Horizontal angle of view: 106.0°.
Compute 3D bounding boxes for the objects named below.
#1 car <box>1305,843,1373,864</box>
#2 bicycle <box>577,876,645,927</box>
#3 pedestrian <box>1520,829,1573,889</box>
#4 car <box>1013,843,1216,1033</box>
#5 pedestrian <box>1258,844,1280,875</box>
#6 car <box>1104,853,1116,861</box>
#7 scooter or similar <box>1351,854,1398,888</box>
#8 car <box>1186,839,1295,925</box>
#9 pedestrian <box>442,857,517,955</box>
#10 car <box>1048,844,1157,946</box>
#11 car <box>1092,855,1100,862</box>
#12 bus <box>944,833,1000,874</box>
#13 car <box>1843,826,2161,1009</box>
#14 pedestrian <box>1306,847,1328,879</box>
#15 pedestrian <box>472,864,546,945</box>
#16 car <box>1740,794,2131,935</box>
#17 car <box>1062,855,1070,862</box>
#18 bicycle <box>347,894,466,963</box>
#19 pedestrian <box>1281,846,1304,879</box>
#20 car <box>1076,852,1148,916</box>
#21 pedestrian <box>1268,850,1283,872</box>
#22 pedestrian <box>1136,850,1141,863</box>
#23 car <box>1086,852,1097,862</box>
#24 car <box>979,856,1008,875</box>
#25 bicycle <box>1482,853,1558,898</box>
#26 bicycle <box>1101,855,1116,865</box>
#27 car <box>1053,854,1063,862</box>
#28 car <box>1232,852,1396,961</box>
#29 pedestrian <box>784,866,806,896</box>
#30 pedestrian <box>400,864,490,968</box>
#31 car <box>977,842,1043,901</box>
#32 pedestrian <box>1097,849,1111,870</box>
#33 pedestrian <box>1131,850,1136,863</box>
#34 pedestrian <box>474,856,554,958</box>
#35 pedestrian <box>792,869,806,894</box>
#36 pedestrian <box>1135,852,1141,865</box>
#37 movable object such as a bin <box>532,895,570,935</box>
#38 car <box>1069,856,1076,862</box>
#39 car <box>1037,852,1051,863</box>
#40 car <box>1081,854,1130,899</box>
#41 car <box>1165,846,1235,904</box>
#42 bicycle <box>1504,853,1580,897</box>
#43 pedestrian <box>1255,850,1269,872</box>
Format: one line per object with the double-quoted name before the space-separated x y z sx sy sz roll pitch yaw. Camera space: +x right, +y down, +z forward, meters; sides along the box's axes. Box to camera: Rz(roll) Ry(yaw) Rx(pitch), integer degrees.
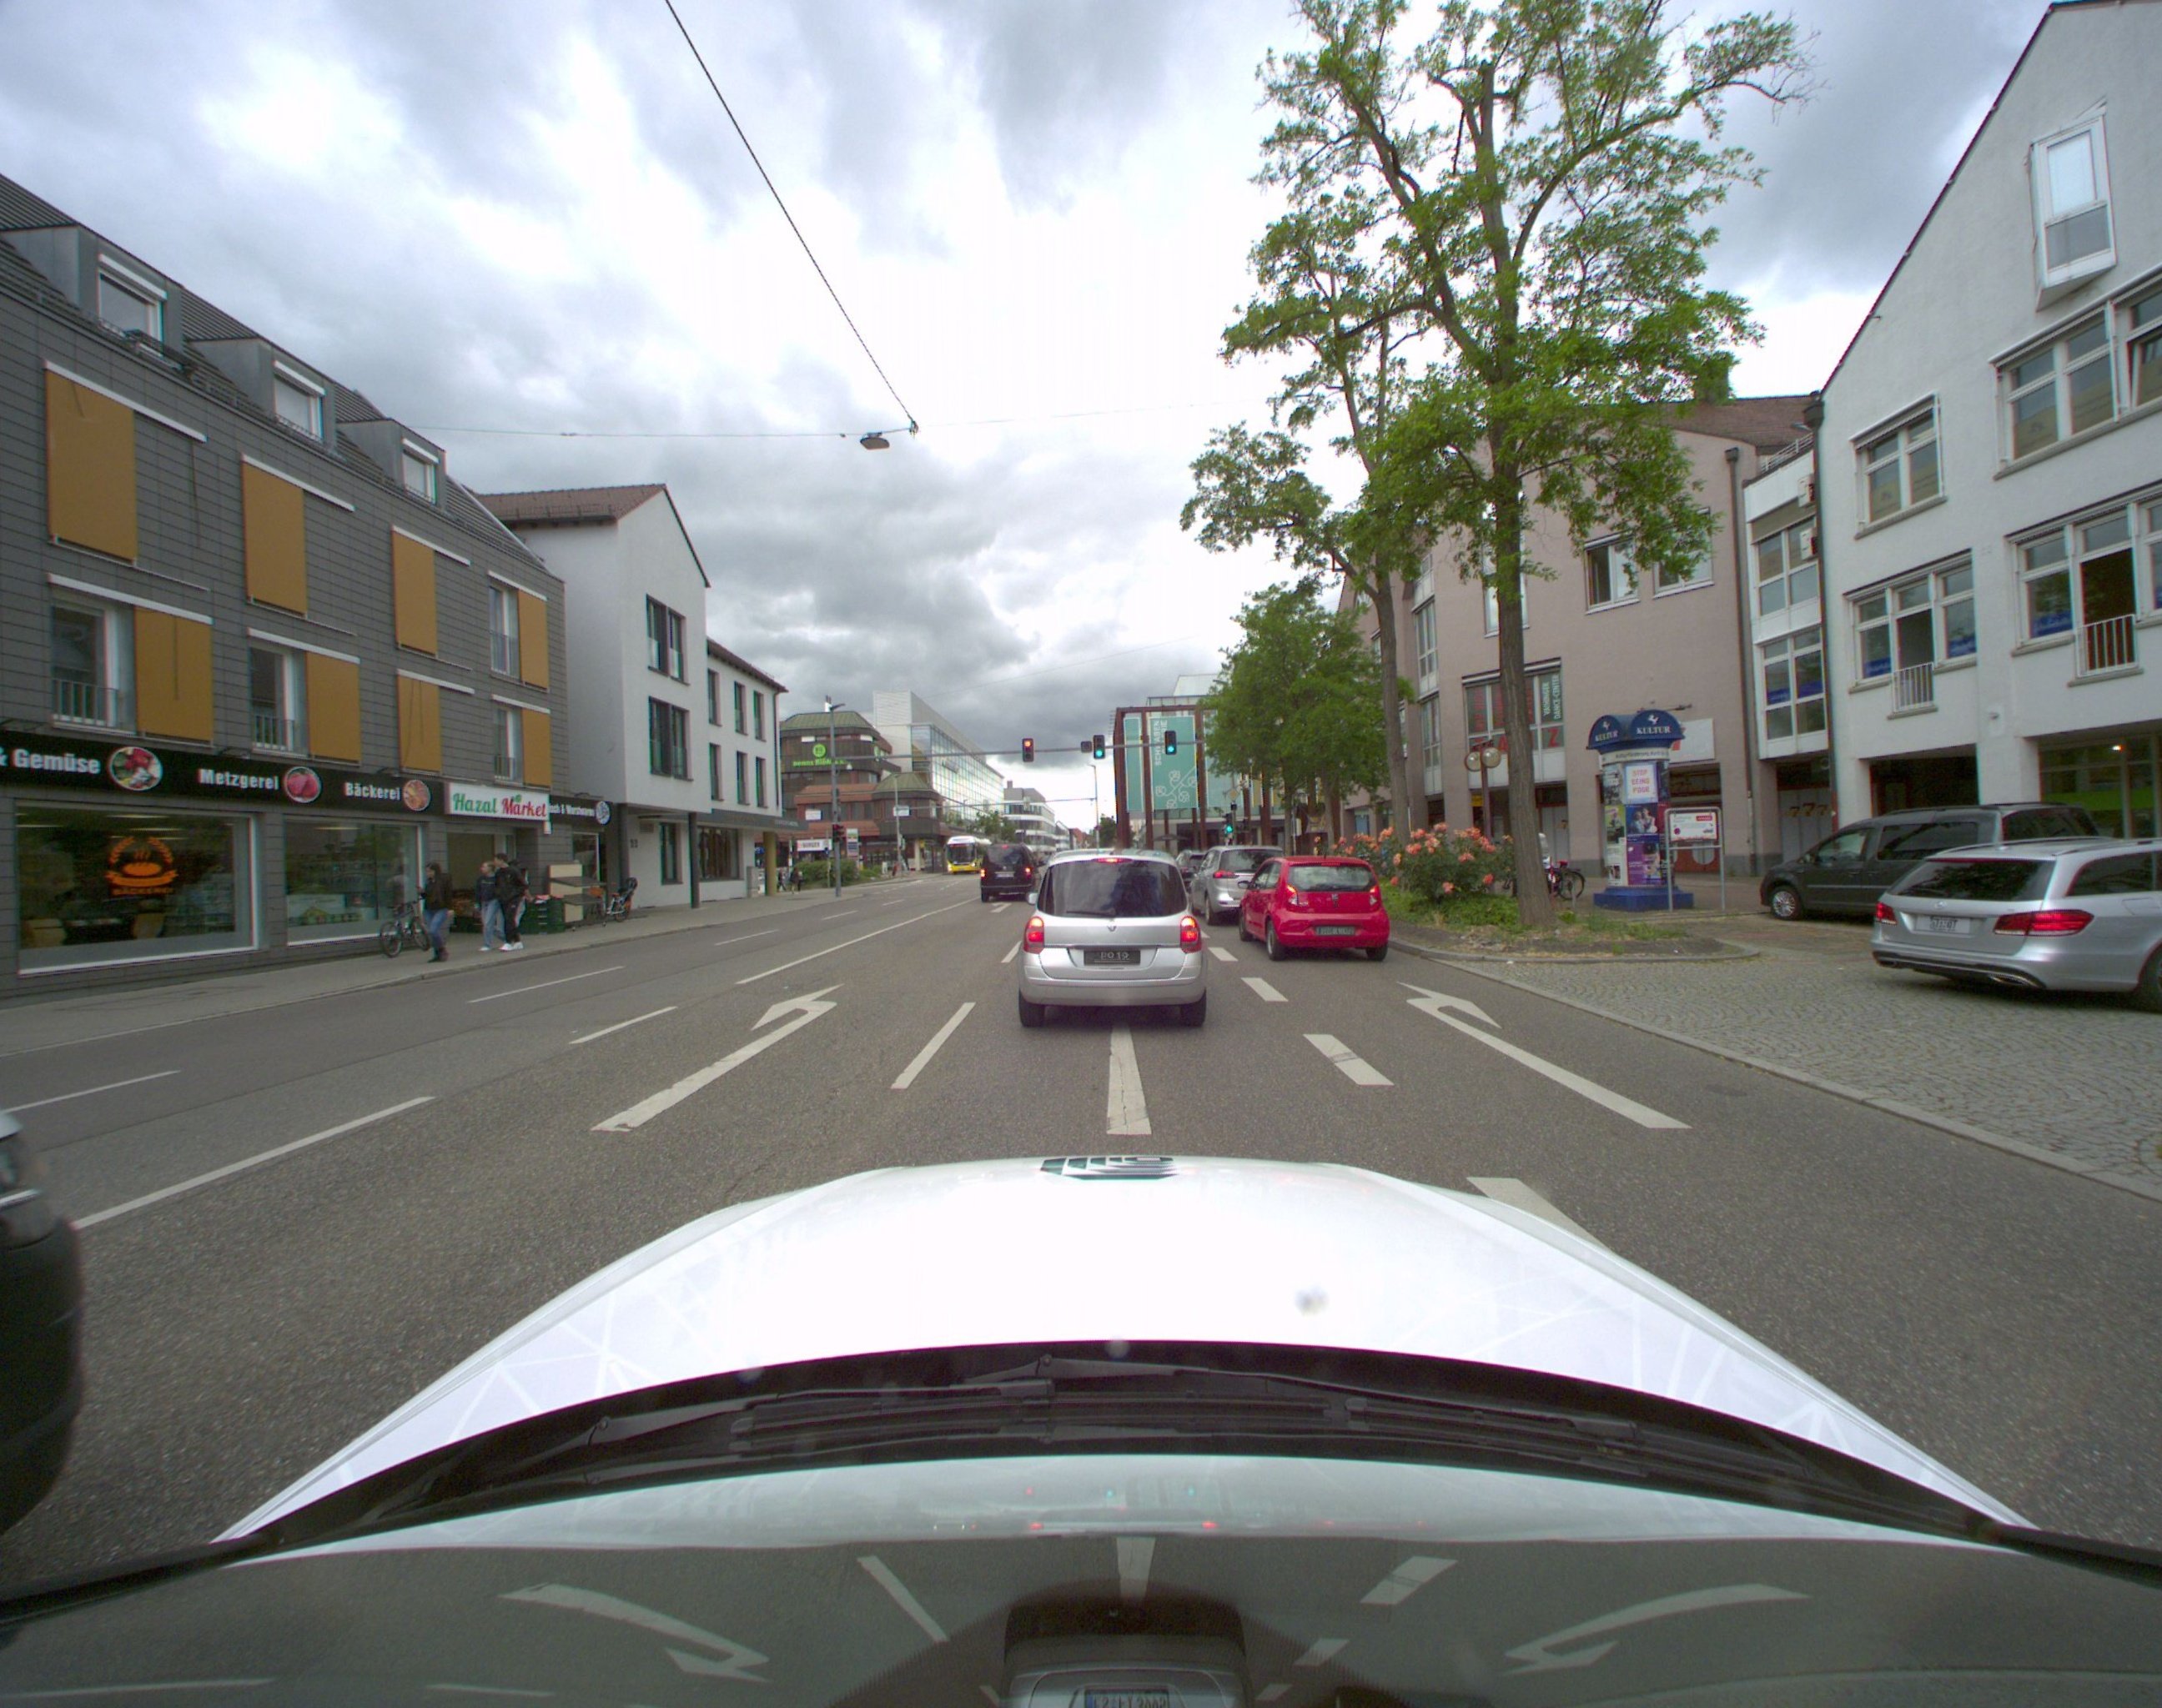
"car" 18.078 -0.042 57.182 4.161 1.404 1.800 -1 0 -1
"bicycle" -12.662 1.263 22.020 0.580 1.232 2.119 -2 0 0
"pedestrian" 13.047 0.129 22.867 0.806 1.626 1.093 -3 0 -1
"car" 0.331 0.683 8.492 1.663 1.554 3.643 0 0 2
"pedestrian" 10.361 0.293 44.831 0.876 1.681 1.120 -2 0 -1
"car" 4.682 0.505 132.473 1.870 1.335 4.002 0 0 2
"scooter or similar" 9.961 0.580 27.722 0.471 1.087 1.878 -3 -1 -15
"car" 3.440 0.546 18.303 1.733 1.701 4.382 0 0 2
"pedestrian" -11.489 0.972 15.571 0.704 1.781 0.871 -2 0 3
"car" 0.387 0.631 14.292 1.663 1.554 3.643 0 0 2
"car" 3.564 1.019 191.282 1.654 1.465 4.002 -3 0 2
"bus" -9.962 -0.051 75.946 2.976 3.327 12.310 -5 0 2
"car" 10.498 0.482 7.846 4.622 1.453 1.740 -3 0 1
"pedestrian" 13.519 0.493 46.656 0.876 1.767 1.120 -2 0 -1
"pedestrian" -12.256 1.057 17.467 0.879 1.643 0.977 -2 0 28
"car" 13.202 0.142 13.070 1.729 1.804 4.260 -3 0 -1
"car" -3.508 1.068 190.976 1.654 1.465 4.002 -3 0 2
"bicycle" -12.628 1.366 15.320 0.569 1.101 1.903 -2 0 2
"pedestrian" 11.829 0.485 45.573 0.876 1.767 1.120 -2 0 -1
"car" 0.768 0.695 20.721 1.663 1.495 3.643 0 0 2
"pedestrian" 14.644 0.503 61.389 0.818 1.595 1.040 -2 0 2
"pedestrian" 6.812 0.285 96.590 0.425 1.549 0.481 -2 0 0
"car" 1.709 0.528 128.834 1.654 1.465 4.002 -3 0 2
"car" -7.223 0.961 67.215 1.752 1.448 4.037 -3 0 2
"bicycle" 10.754 0.534 19.961 1.549 1.048 0.409 -2 0 43
"bicycle" 2.987 0.652 88.196 1.553 0.992 0.753 -2 0 4
"car" -4.557 0.842 161.992 1.654 1.465 4.002 -3 0 2
"car" 3.452 0.703 12.725 1.620 1.448 3.643 0 0 2
"pedestrian" -17.683 1.662 50.347 0.944 1.755 0.945 -2 0 3
"pedestrian" -10.928 1.035 14.026 0.800 1.698 0.871 -2 0 3
"car" -2.315 0.537 27.728 1.701 1.820 4.573 0 0 2
"pedestrian" 1.921 0.471 66.832 0.861 1.646 0.685 -2 0 36
"pedestrian" 6.212 0.291 96.505 0.425 1.549 0.481 -2 0 0
"pedestrian" -10.718 0.968 15.426 0.704 1.839 1.029 -2 0 3
"pedestrian" -18.245 1.768 52.631 0.636 1.588 0.526 -2 0 3
"pedestrian" 5.209 0.394 74.566 0.445 1.220 0.607 -2 0 4
"movable object such as a bin" -12.635 1.458 19.411 0.549 0.899 0.507 -2 0 0
"car" -2.501 1.374 229.578 1.654 1.465 4.002 -3 0 2
"car" -5.379 0.506 119.690 1.654 1.465 4.002 -3 0 2
"car" 0.880 0.764 29.387 1.663 1.495 3.643 0 0 2
"car" 3.671 0.605 25.792 1.733 1.701 4.382 0 0 2
"bicycle" 11.410 0.531 20.167 1.549 1.048 0.409 -2 0 43
"pedestrian" 13.262 0.504 59.634 0.739 1.626 0.953 -3 0 -2
